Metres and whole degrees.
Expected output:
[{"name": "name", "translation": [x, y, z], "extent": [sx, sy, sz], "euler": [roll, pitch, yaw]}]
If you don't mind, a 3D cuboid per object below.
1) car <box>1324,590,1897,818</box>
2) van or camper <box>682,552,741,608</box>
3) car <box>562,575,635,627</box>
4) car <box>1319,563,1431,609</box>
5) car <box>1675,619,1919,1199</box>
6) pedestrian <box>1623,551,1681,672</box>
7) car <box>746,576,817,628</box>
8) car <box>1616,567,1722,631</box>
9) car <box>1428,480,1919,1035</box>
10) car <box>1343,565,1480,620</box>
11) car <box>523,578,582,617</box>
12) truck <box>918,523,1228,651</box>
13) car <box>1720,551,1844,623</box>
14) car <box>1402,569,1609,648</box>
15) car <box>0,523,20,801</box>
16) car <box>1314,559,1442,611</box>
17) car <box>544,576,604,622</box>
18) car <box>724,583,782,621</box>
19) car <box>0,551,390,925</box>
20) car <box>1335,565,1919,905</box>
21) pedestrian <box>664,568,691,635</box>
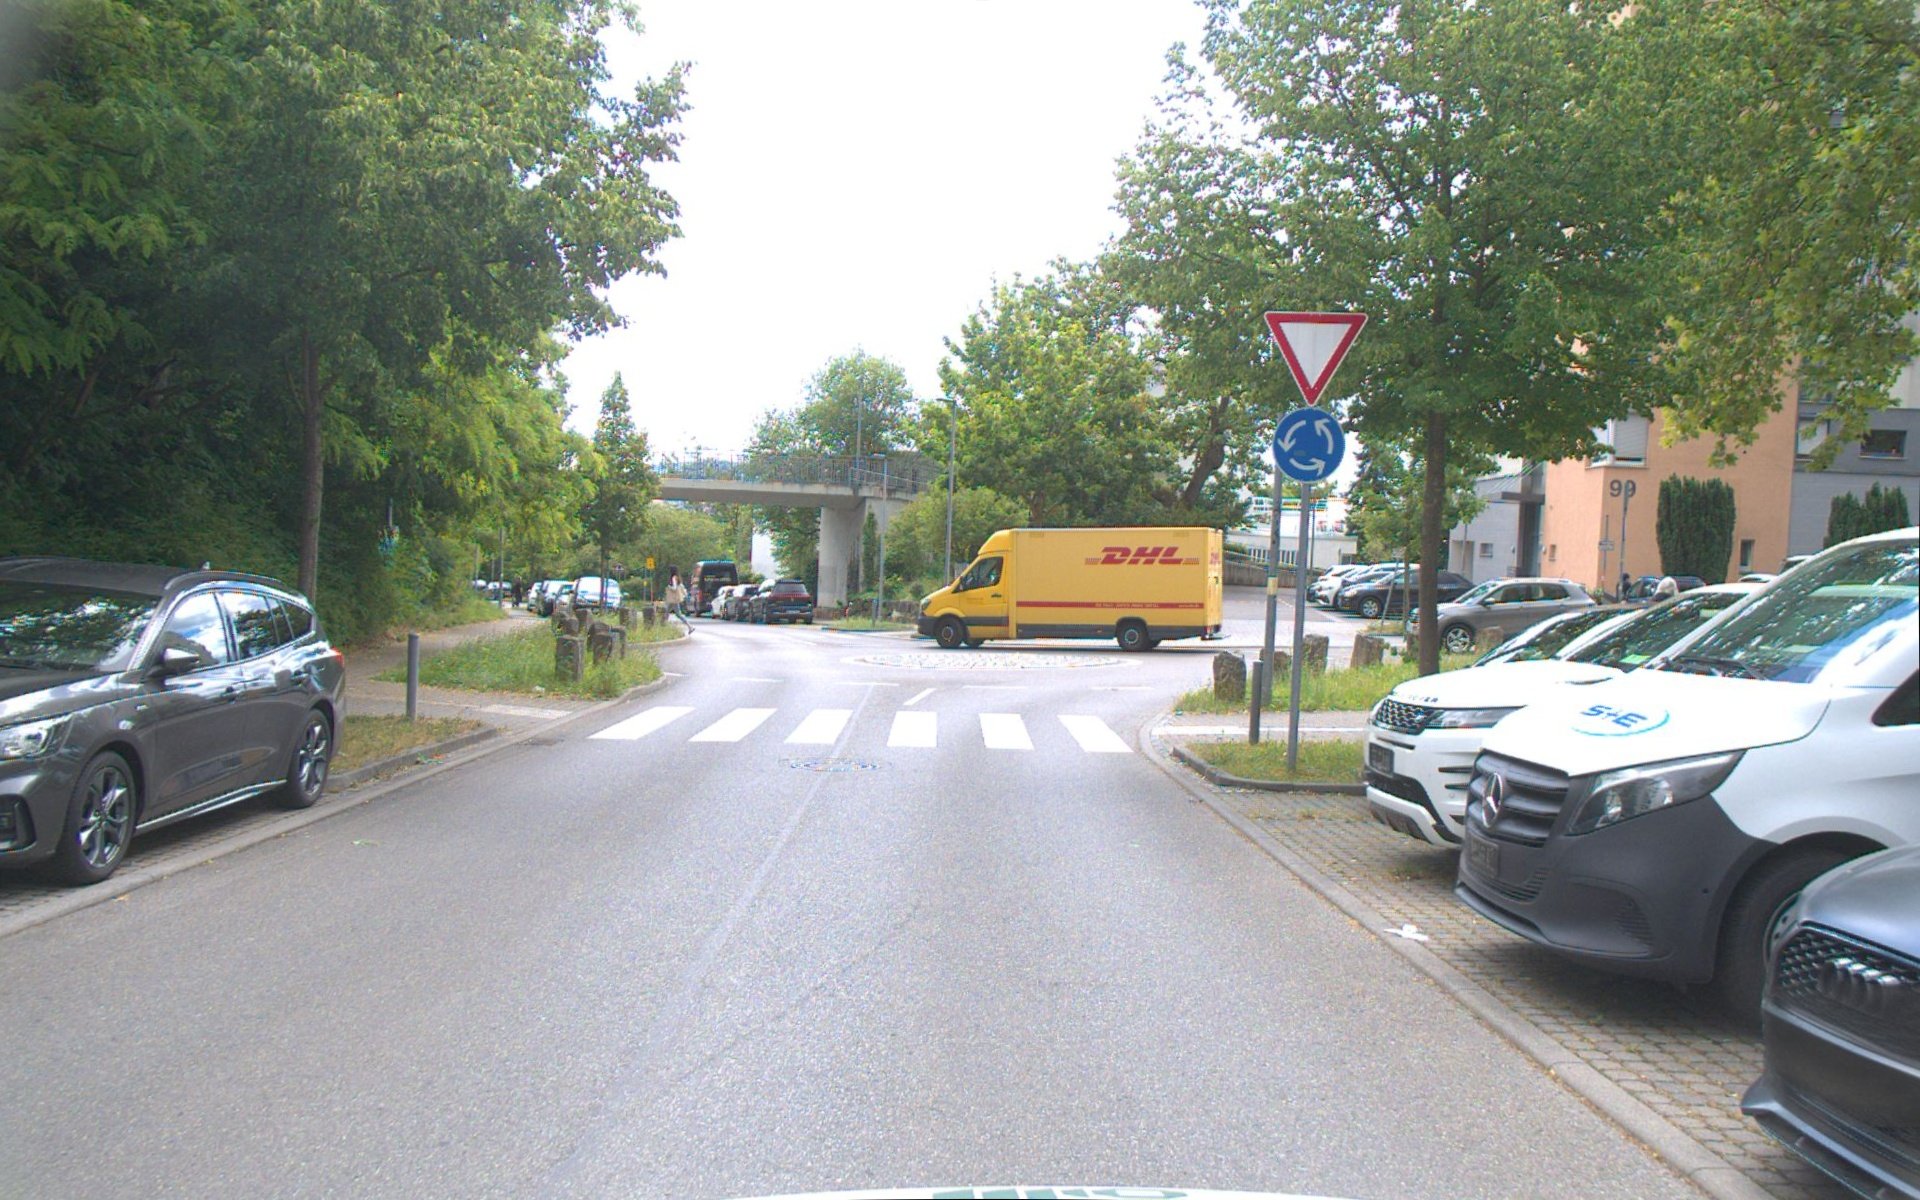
[{"name": "car", "translation": [4.591, 0.714, 11.924], "extent": [3.446, 1.487, 1.735], "euler": [1, 0, -9]}, {"name": "van or camper", "translation": [-11.972, -0.900, 79.421], "extent": [1.962, 2.567, 5.444], "euler": [-1, 0, -17]}, {"name": "car", "translation": [-11.634, 0.004, 53.052], "extent": [1.759, 1.493, 3.978], "euler": [2, 1, -19]}, {"name": "car", "translation": [15.368, -0.522, 61.439], "extent": [3.896, 1.544, 1.758], "euler": [2, 1, 11]}, {"name": "car", "translation": [3.946, 0.749, 3.959], "extent": [3.757, 1.395, 1.837], "euler": [0, 0, -12]}, {"name": "pedestrian", "translation": [9.889, 0.162, 23.652], "extent": [0.599, 1.694, 0.841], "euler": [0, 0, 10]}, {"name": "car", "translation": [-6.774, 0.115, 62.436], "extent": [1.786, 1.708, 4.346], "euler": [1, -3, -18]}, {"name": "car", "translation": [17.627, -0.048, 41.271], "extent": [1.468, 1.502, 3.529], "euler": [1, 1, 6]}, {"name": "car", "translation": [4.453, 0.514, 6.544], "extent": [4.677, 1.863, 1.842], "euler": [0, 0, -1]}, {"name": "car", "translation": [14.098, -0.247, 51.798], "extent": [3.955, 1.544, 1.757], "euler": [2, 1, 10]}, {"name": "car", "translation": [-17.043, -0.117, 69.020], "extent": [1.857, 1.535, 4.425], "euler": [2, 0, -20]}, {"name": "truck", "translation": [2.585, -0.295, 37.764], "extent": [6.659, 2.749, 2.475], "euler": [0, 1, 18]}, {"name": "car", "translation": [20.175, -0.323, 40.742], "extent": [1.535, 1.687, 3.780], "euler": [0, 1, 6]}, {"name": "car", "translation": [11.763, 0.173, 35.812], "extent": [3.914, 1.646, 1.722], "euler": [0, 0, 0]}, {"name": "car", "translation": [-4.641, 0.485, 4.275], "extent": [1.763, 1.643, 4.478], "euler": [5, 1, 0]}, {"name": "car", "translation": [14.298, -0.515, 56.736], "extent": [4.032, 1.621, 1.694], "euler": [2, 1, 6]}, {"name": "car", "translation": [-13.636, -0.058, 58.303], "extent": [1.854, 1.485, 3.531], "euler": [2, 1, -16]}, {"name": "car", "translation": [-8.608, 0.079, 68.505], "extent": [1.673, 1.523, 4.098], "euler": [0, 0, -17]}, {"name": "car", "translation": [-4.822, 0.534, 9.218], "extent": [1.655, 1.490, 4.456], "euler": [5, 1, 0]}, {"name": "car", "translation": [4.355, 0.698, 9.240], "extent": [4.067, 1.630, 1.738], "euler": [2, 1, -2]}, {"name": "pedestrian", "translation": [-7.518, 0.023, 44.073], "extent": [0.646, 1.751, 0.737], "euler": [2, 1, -11]}]
